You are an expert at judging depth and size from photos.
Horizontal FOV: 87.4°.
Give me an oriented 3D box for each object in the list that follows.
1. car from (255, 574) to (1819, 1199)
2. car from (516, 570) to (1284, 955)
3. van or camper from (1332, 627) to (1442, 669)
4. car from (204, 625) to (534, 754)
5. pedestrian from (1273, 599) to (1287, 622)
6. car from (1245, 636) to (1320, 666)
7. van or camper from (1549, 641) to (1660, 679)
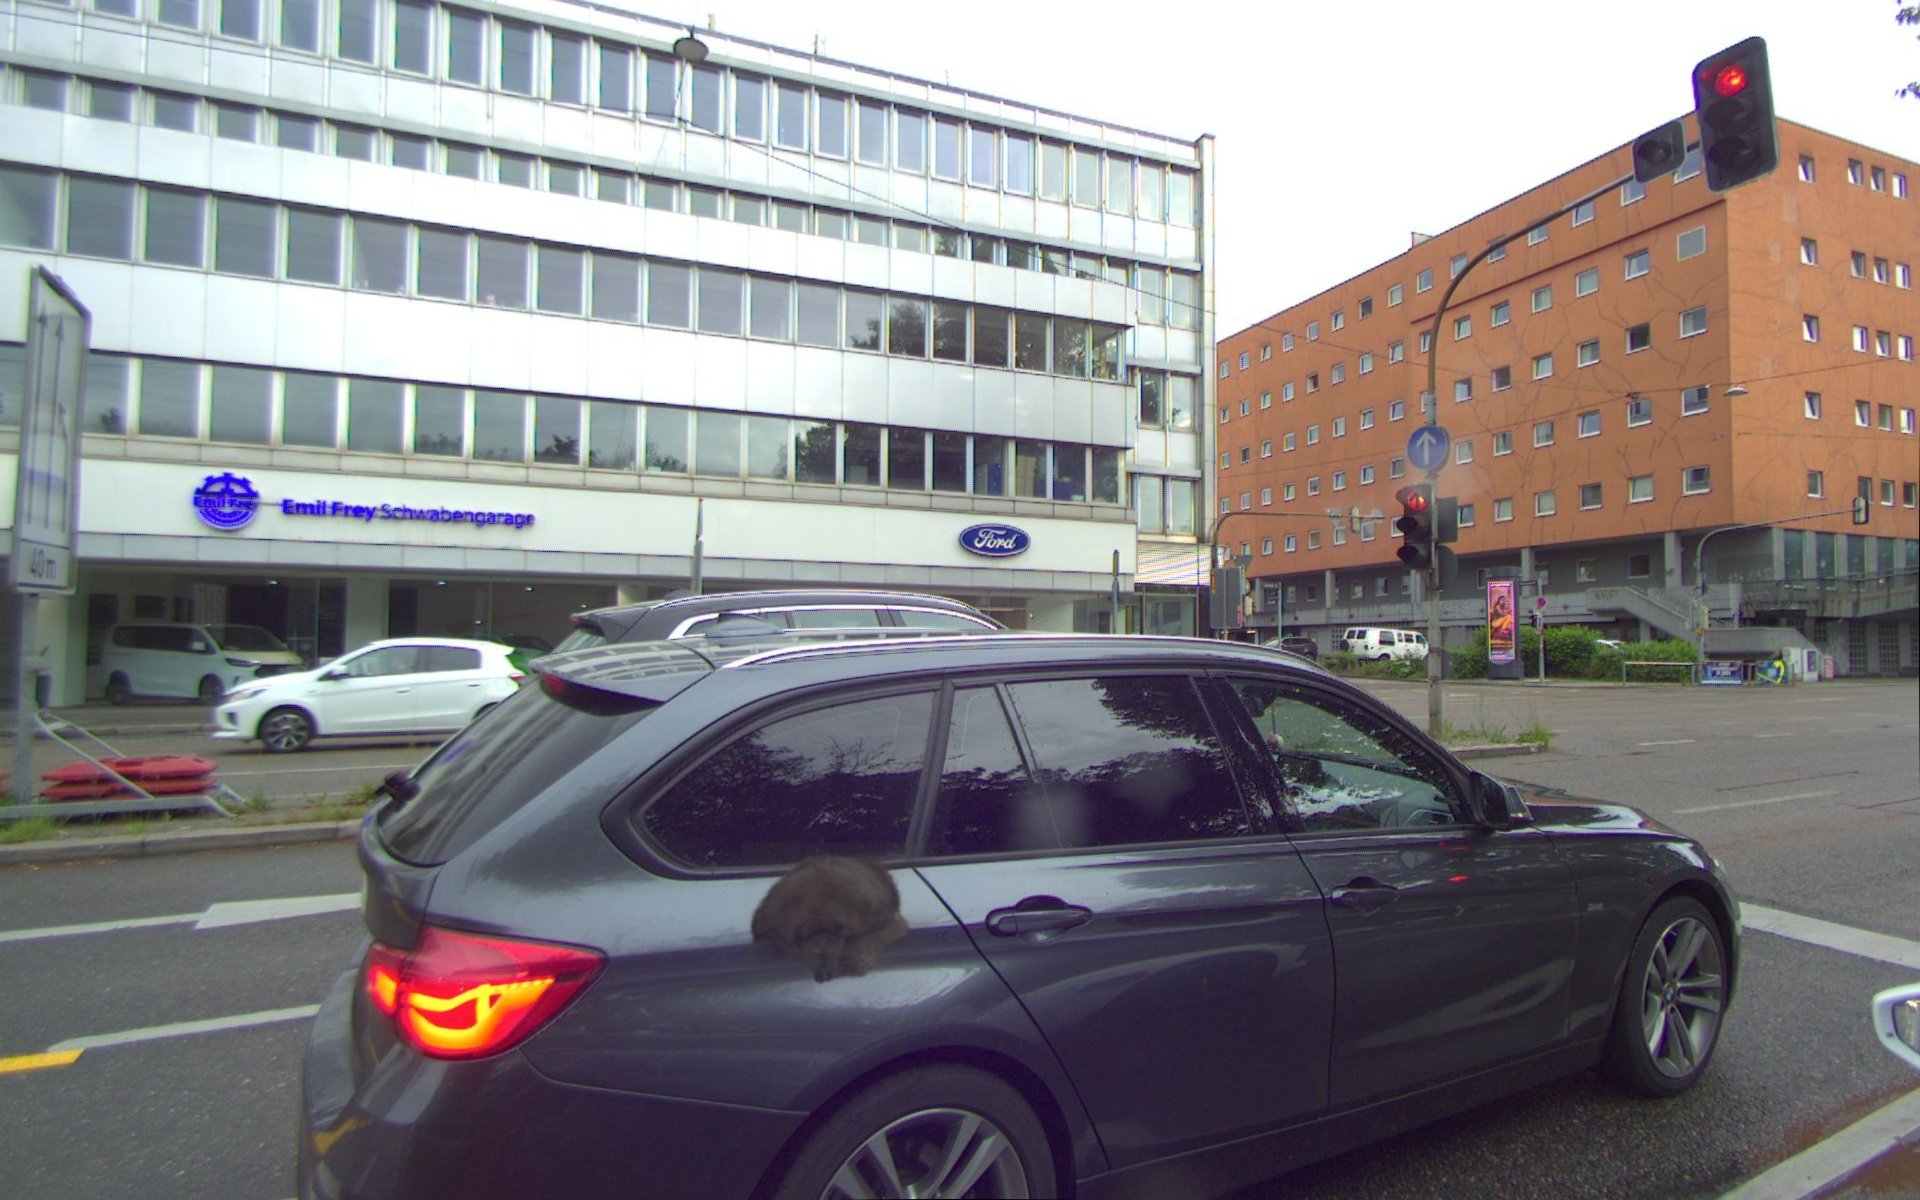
[{"bbox_3d":[0.604,0.796,3.149,4.424,1.477,1.769,2,-3,-30],"label":"car"},{"bbox_3d":[-0.284,0.765,6.224,4.389,1.678,1.802,2,0,-28],"label":"car"},{"bbox_3d":[22.257,2.516,52.337,5.376,2.004,2.121,2,0,-23],"label":"van or camper"},{"bbox_3d":[-8.056,1.194,13.952,3.723,1.551,1.792,1,-6,-33],"label":"car"},{"bbox_3d":[26.349,0.871,82.739,0.714,1.864,0.761,2,0,-21],"label":"pedestrian"},{"bbox_3d":[18.967,2.994,59.014,4.027,1.633,1.706,2,0,-23],"label":"car"},{"bbox_3d":[29.948,2.747,46.776,1.887,1.648,3.978,1,-2,-23],"label":"van or camper"}]
